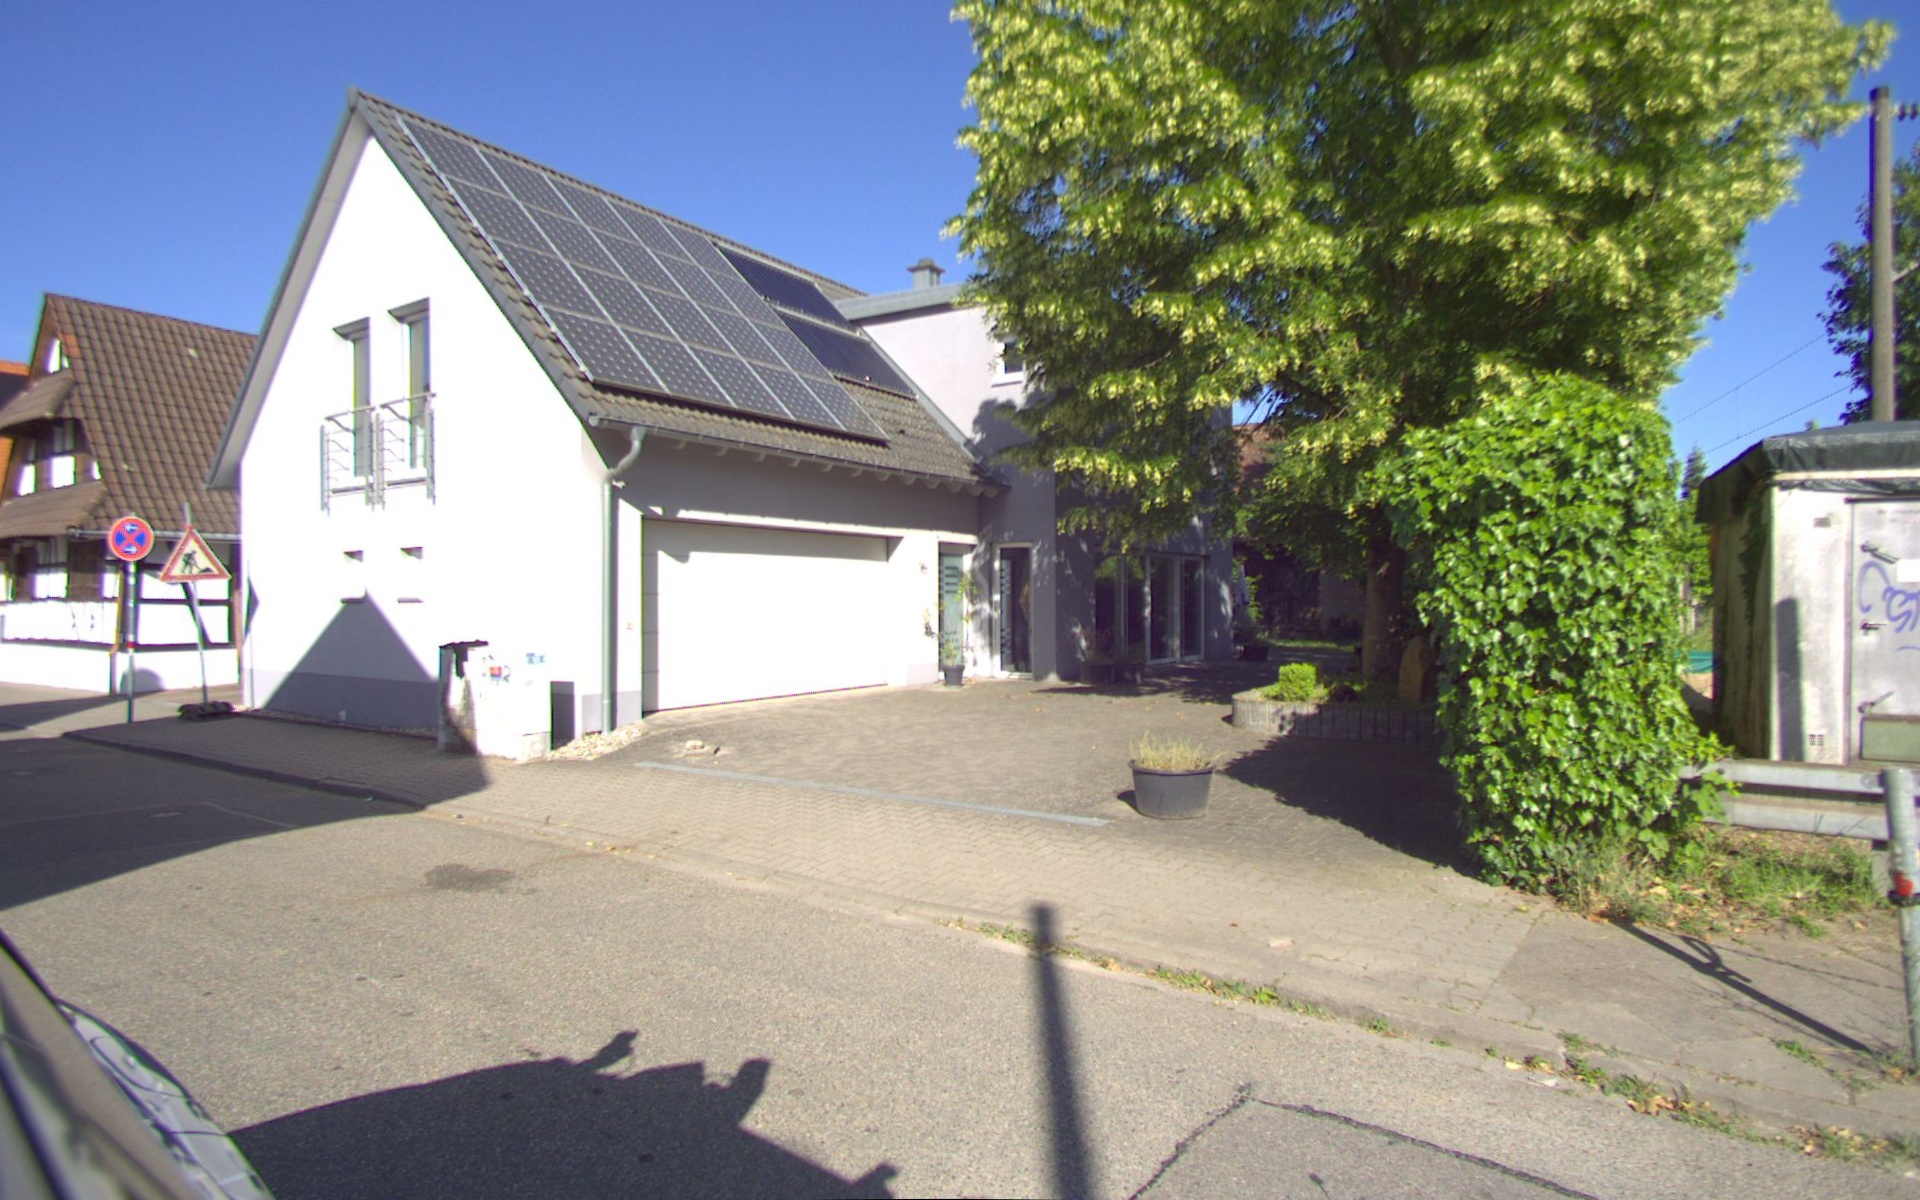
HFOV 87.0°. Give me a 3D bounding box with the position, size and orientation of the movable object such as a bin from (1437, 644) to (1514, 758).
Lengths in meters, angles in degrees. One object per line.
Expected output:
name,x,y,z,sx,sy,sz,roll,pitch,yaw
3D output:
movable object such as a bin,4.642,0.884,9.112,0.507,0.941,0.584,1,0,39

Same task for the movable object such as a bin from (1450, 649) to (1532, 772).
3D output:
movable object such as a bin,4.465,0.903,8.504,0.507,0.941,0.584,1,0,39
